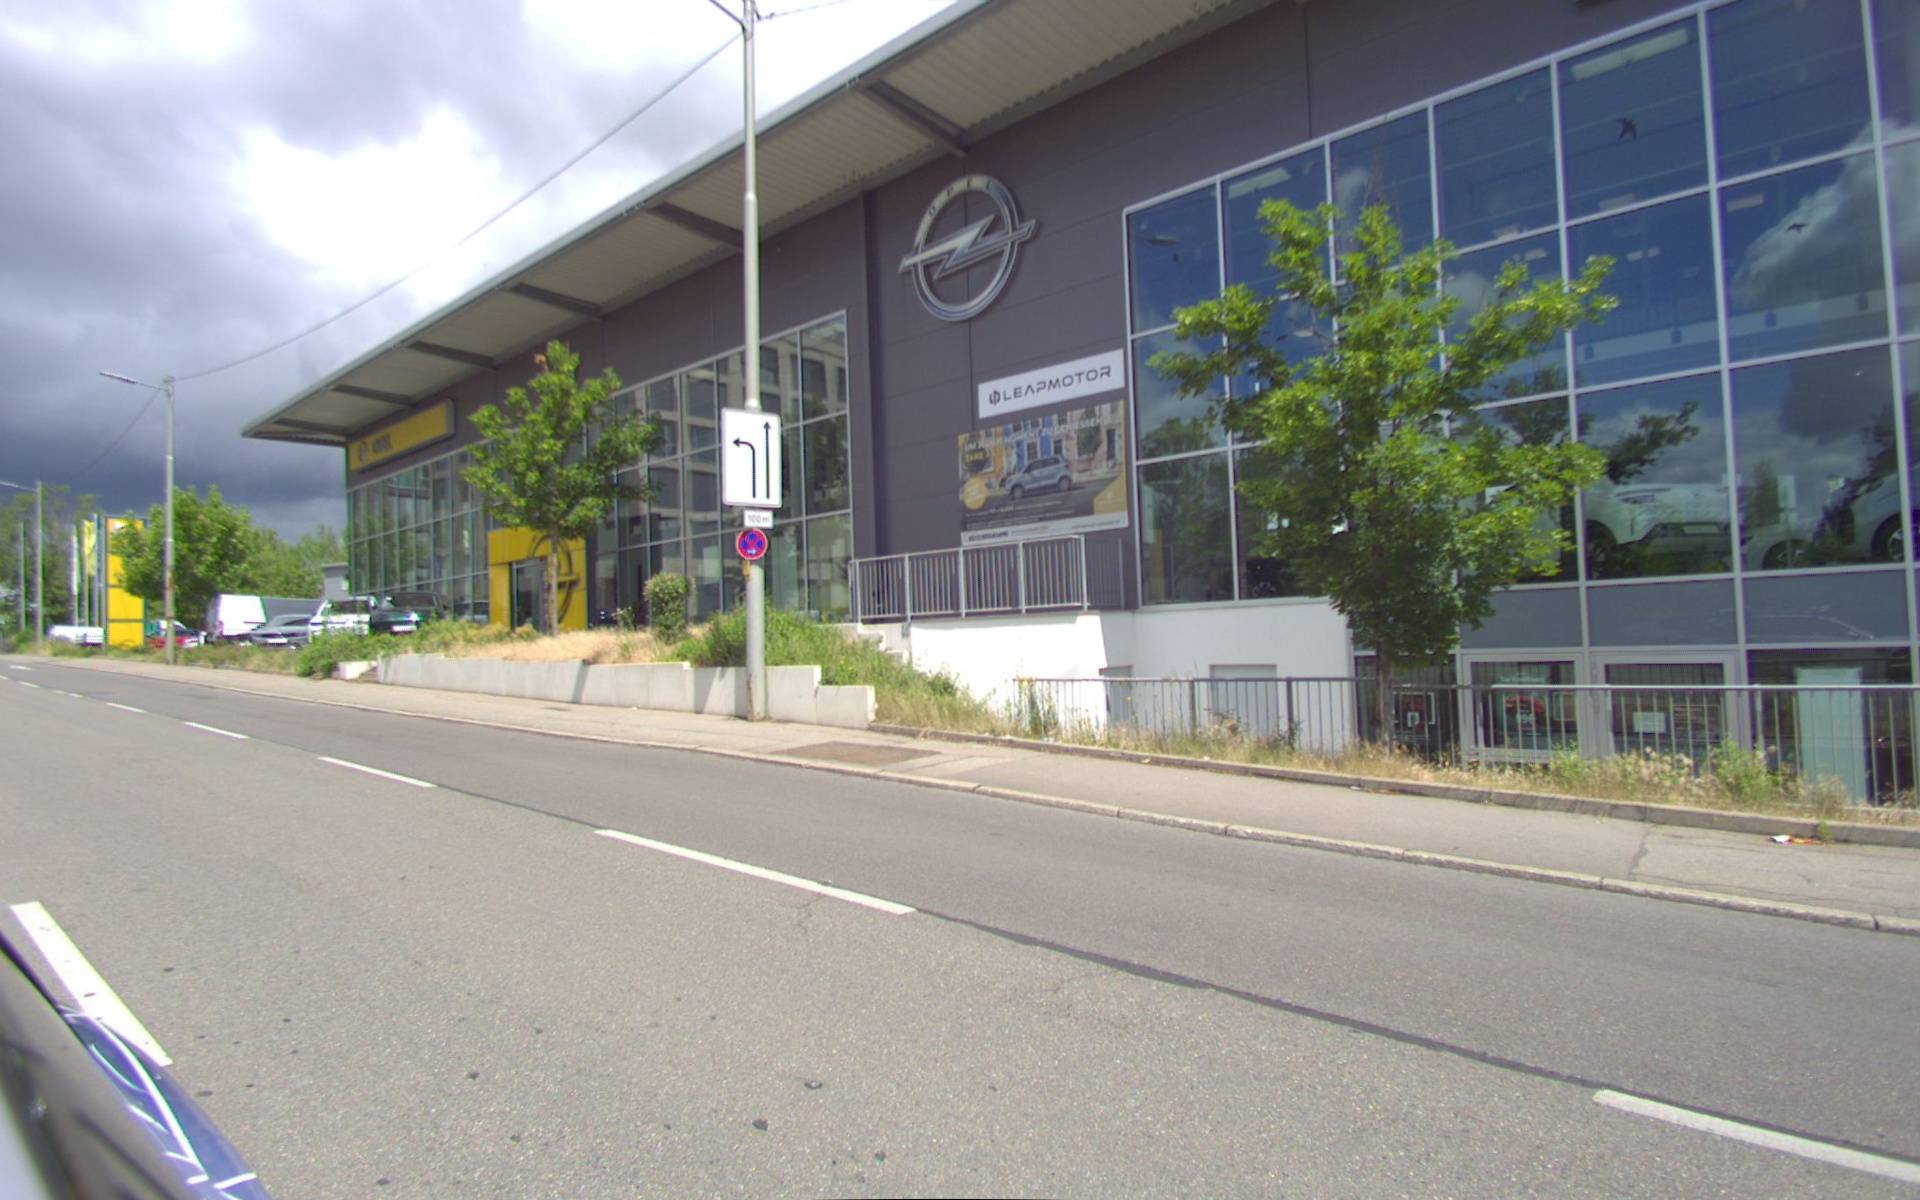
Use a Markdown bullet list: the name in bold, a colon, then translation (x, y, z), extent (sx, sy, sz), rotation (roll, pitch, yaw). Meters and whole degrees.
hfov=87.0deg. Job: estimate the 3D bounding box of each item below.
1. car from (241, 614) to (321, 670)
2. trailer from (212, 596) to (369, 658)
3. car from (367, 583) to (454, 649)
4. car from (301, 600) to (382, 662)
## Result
- **car**: translation (-23.484, 1.408, 35.151), extent (1.966, 1.807, 4.012), rotation (1, -1, -29)
- **trailer**: translation (-27.431, 1.087, 41.604), extent (1.998, 2.367, 5.011), rotation (-1, -2, 39)
- **car**: translation (-15.692, 0.472, 28.801), extent (1.966, 1.741, 4.011), rotation (1, -2, -31)
- **car**: translation (-19.219, 0.948, 31.589), extent (1.966, 1.807, 4.012), rotation (1, -2, -29)
